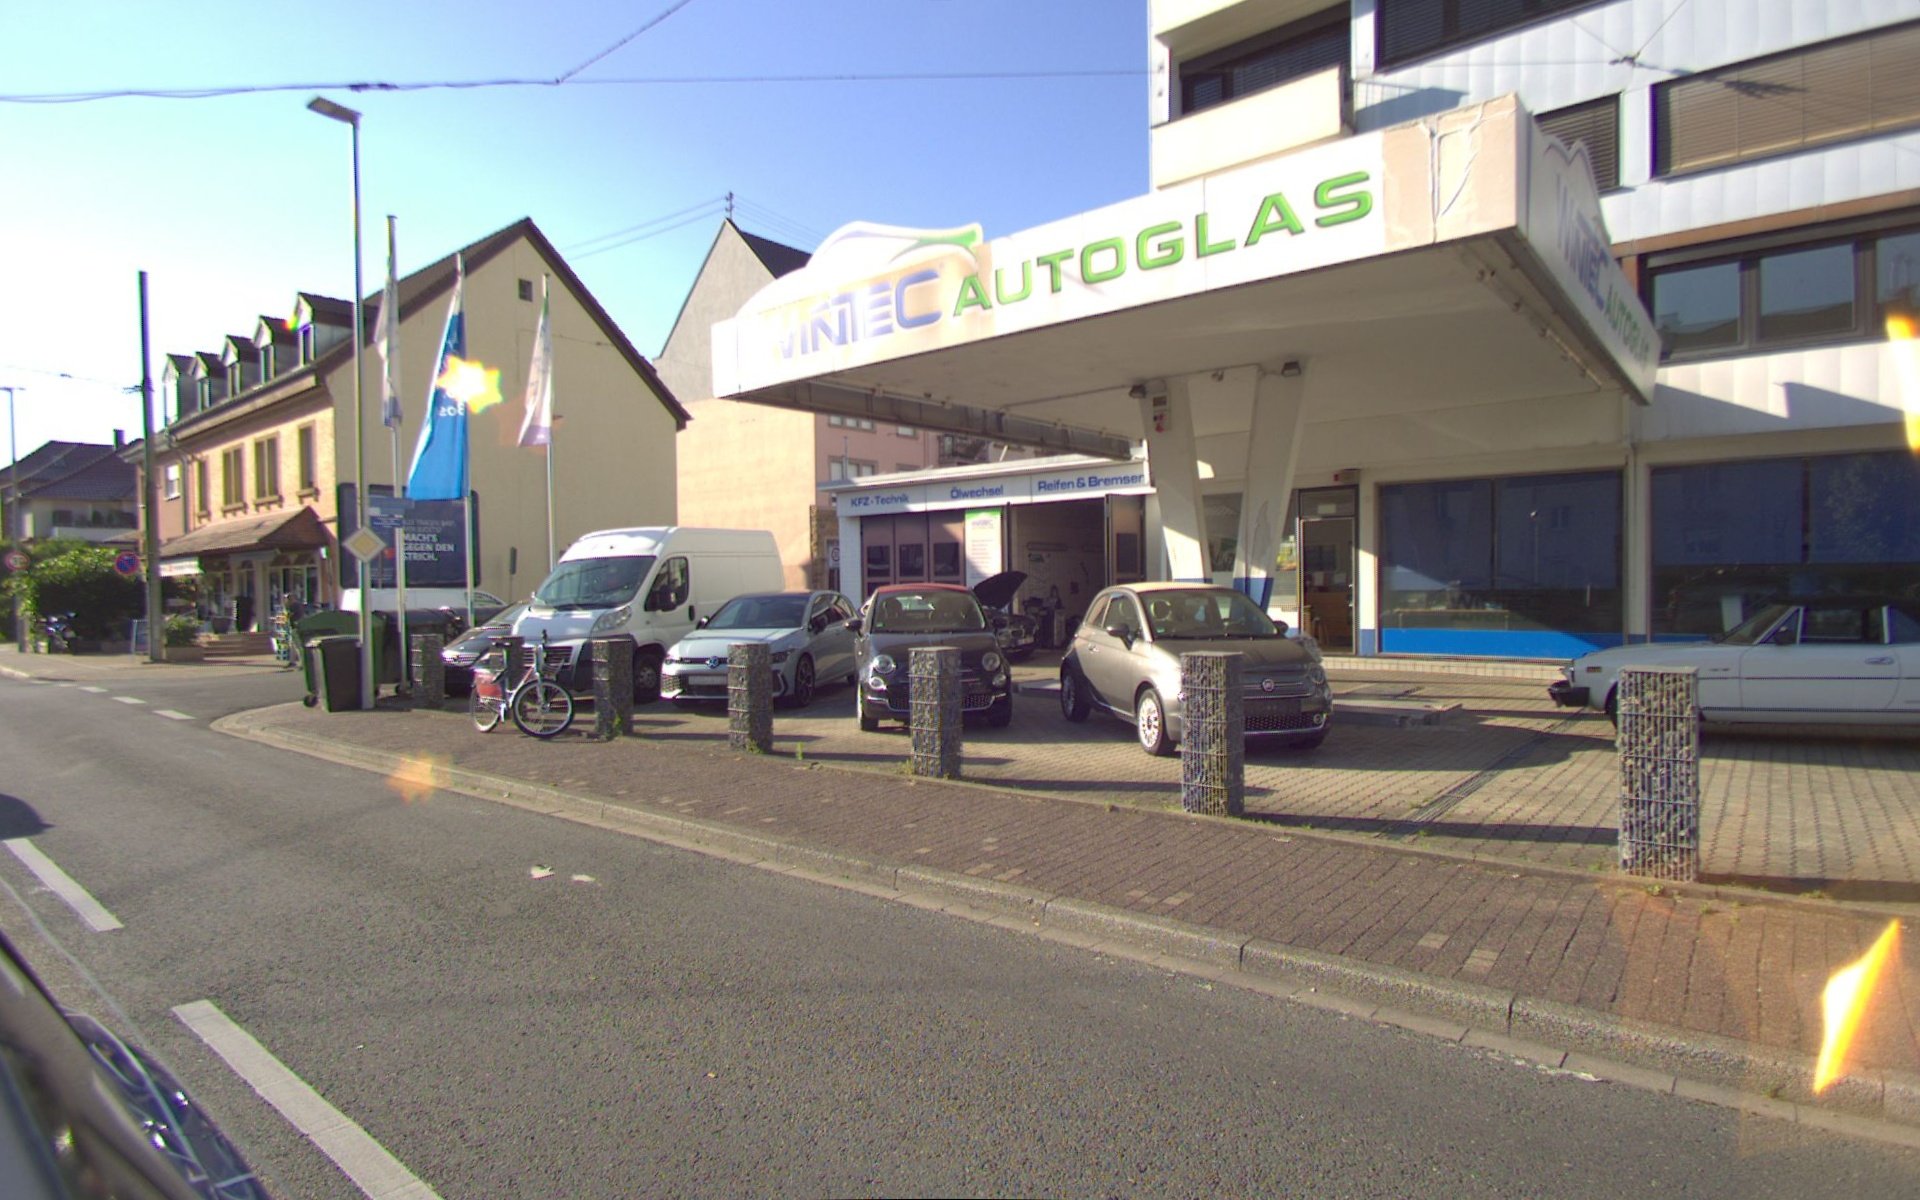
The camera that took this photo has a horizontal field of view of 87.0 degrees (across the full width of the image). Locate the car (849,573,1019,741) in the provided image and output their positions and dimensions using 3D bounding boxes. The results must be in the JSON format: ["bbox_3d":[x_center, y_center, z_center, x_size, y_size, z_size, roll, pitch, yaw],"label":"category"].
[{"bbox_3d":[-0.430,0.529,11.507,1.597,1.580,3.399,-1,1,-6],"label":"car"}]

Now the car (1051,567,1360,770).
[{"bbox_3d":[2.148,0.522,9.802,1.595,1.580,3.402,-1,1,-11],"label":"car"}]

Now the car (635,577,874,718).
[{"bbox_3d":[-2.562,0.517,13.666,1.754,1.580,3.987,-2,1,11],"label":"car"}]

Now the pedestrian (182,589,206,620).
[{"bbox_3d":[-25.977,0.150,34.342,0.381,1.055,0.521,-1,0,24],"label":"pedestrian"}]

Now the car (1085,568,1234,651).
[{"bbox_3d":[4.789,0.170,23.841,1.769,1.722,4.263,-2,1,36],"label":"car"}]

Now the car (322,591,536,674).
[{"bbox_3d":[-13.844,0.760,26.613,1.997,1.947,4.571,-1,0,38],"label":"car"}]

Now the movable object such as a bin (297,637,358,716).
[{"bbox_3d":[-9.311,1.109,14.893,0.652,1.070,0.586,-4,1,-38],"label":"movable object such as a bin"}]

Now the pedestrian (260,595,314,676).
[{"bbox_3d":[-16.052,0.835,24.152,0.782,1.882,0.822,-1,0,-10],"label":"pedestrian"}]

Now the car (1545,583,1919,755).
[{"bbox_3d":[7.430,0.529,8.559,4.131,1.294,1.572,-2,0,37],"label":"car"}]

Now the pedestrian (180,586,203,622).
[{"bbox_3d":[-26.796,0.139,35.288,0.465,1.268,0.517,-1,0,42],"label":"pedestrian"}]

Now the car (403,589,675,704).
[{"bbox_3d":[-6.811,0.681,16.825,1.763,1.580,3.966,-2,1,26],"label":"car"}]

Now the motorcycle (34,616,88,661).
[{"bbox_3d":[-28.043,1.180,31.553,2.229,1.292,0.831,0,2,37],"label":"motorcycle"}]

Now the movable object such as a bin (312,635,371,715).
[{"bbox_3d":[-8.843,1.066,14.473,0.631,1.077,0.581,-2,-2,-38],"label":"movable object such as a bin"}]

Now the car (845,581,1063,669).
[{"bbox_3d":[-0.196,0.493,20.744,4.311,1.580,1.750,-1,1,39],"label":"car"}]

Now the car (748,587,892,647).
[{"bbox_3d":[-4.167,0.444,30.537,1.999,1.536,3.947,5,4,40],"label":"car"}]

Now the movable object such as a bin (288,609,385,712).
[{"bbox_3d":[-9.777,0.938,15.928,1.040,1.494,1.316,-3,-2,-21],"label":"movable object such as a bin"}]

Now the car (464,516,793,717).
[{"bbox_3d":[-4.658,0.161,15.246,2.091,2.488,5.042,-1,1,18],"label":"car"}]

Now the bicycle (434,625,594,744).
[{"bbox_3d":[-4.931,0.888,11.158,1.774,1.186,0.718,-1,0,31],"label":"bicycle"}]
